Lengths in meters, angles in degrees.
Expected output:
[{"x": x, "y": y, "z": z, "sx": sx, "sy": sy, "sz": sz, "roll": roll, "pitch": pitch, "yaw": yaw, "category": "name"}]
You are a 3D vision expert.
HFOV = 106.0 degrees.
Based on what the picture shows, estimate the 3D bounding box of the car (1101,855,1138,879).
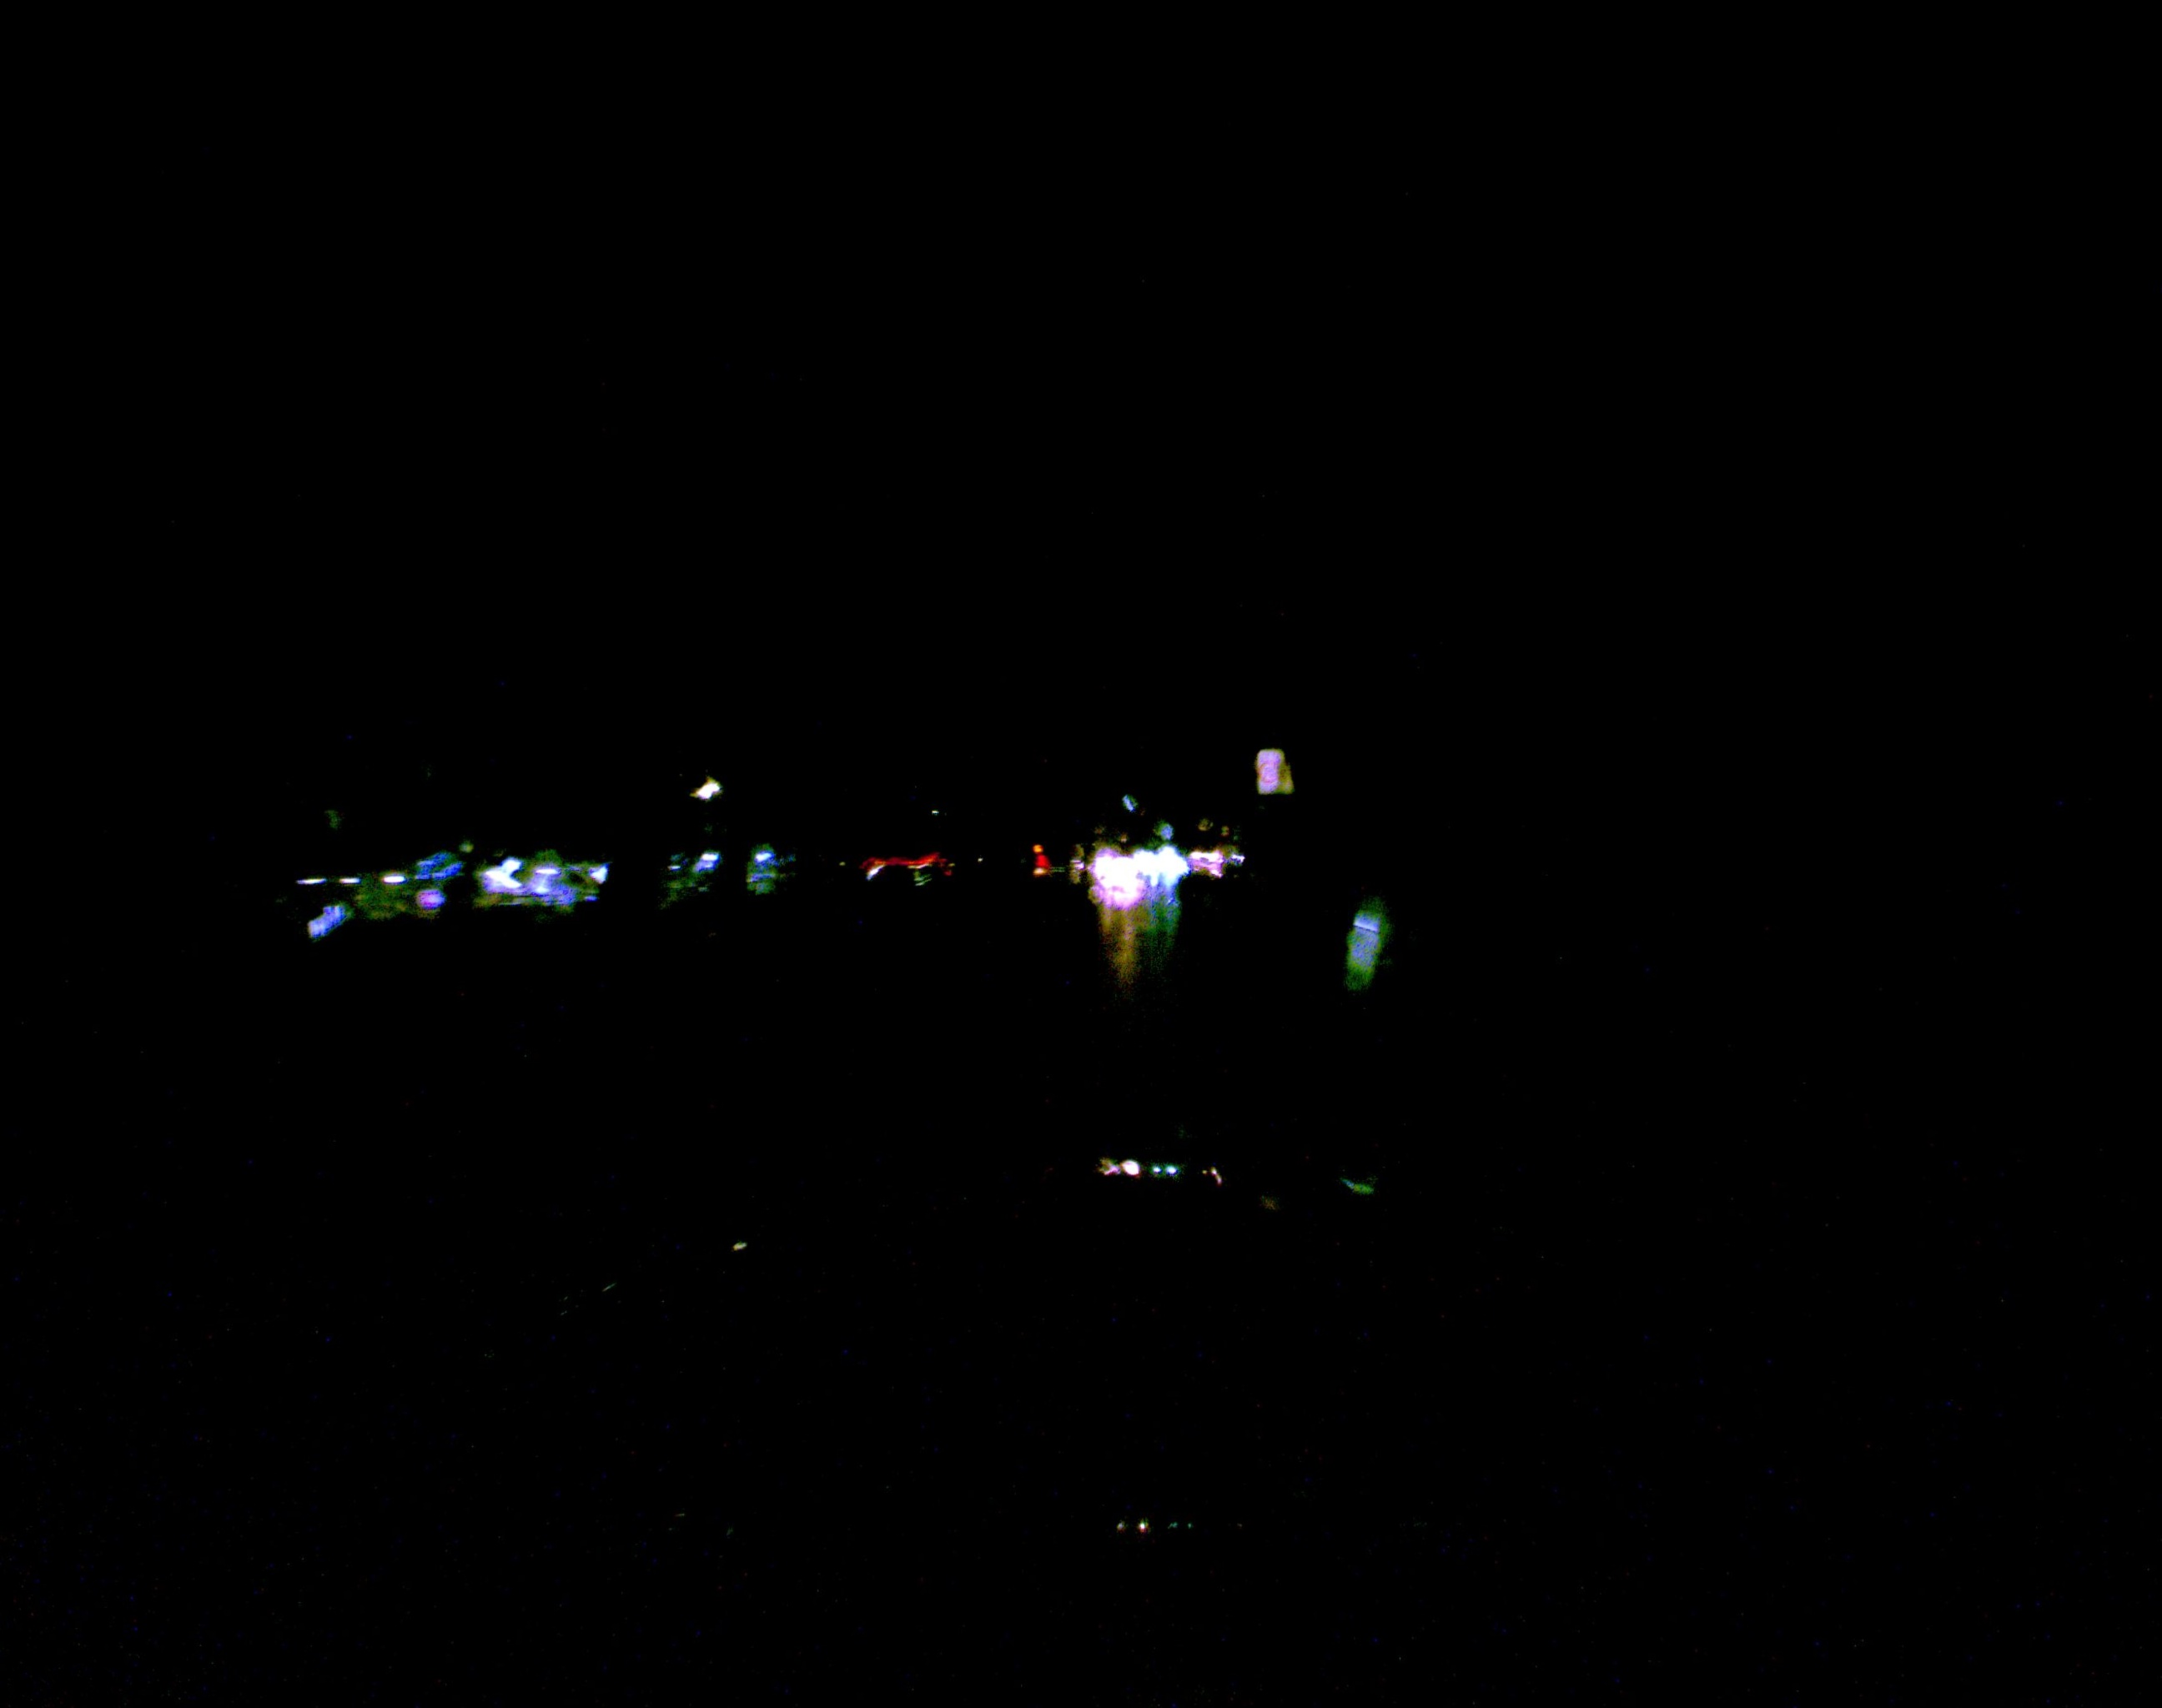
[{"x": 2.415, "y": 0.784, "z": 50.687, "sx": 1.623, "sy": 1.354, "sz": 4.156, "roll": -1, "pitch": 0, "yaw": 12, "category": "car"}]

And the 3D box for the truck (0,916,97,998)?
[{"x": -44.177, "y": 4.290, "z": 32.029, "sx": 2.155, "sy": 3.045, "sz": 6.713, "roll": -4, "pitch": -1, "yaw": 9, "category": "truck"}]

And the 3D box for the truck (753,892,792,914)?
[{"x": -35.162, "y": 5.537, "z": 93.009, "sx": 2.072, "sy": 2.119, "sz": 4.504, "roll": -7, "pitch": -2, "yaw": 7, "category": "truck"}]

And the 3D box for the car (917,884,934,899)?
[{"x": -18.440, "y": 4.480, "z": 96.550, "sx": 1.812, "sy": 1.567, "sz": 4.191, "roll": -5, "pitch": -1, "yaw": -11, "category": "car"}]

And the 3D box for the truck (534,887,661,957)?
[{"x": -28.640, "y": 3.904, "z": 48.692, "sx": 2.453, "sy": 3.480, "sz": 7.065, "roll": -6, "pitch": -2, "yaw": 7, "category": "truck"}]

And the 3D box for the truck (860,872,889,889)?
[{"x": -31.942, "y": 4.050, "z": 126.333, "sx": 2.309, "sy": 2.463, "sz": 6.501, "roll": 0, "pitch": -1, "yaw": 5, "category": "truck"}]

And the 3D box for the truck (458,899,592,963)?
[{"x": -33.110, "y": 4.463, "z": 48.895, "sx": 2.422, "sy": 3.097, "sz": 7.063, "roll": -6, "pitch": -2, "yaw": 6, "category": "truck"}]

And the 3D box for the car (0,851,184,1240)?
[{"x": -5.061, "y": 0.729, "z": 1.835, "sx": 1.645, "sy": 1.491, "sz": 3.863, "roll": 0, "pitch": -1, "yaw": 4, "category": "car"}]

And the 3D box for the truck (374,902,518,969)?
[{"x": -37.899, "y": 4.758, "z": 48.972, "sx": 2.422, "sy": 3.260, "sz": 7.063, "roll": -6, "pitch": -2, "yaw": 6, "category": "truck"}]

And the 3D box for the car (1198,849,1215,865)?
[{"x": 16.226, "y": 0.369, "z": 105.453, "sx": 1.879, "sy": 2.002, "sz": 4.897, "roll": 0, "pitch": 0, "yaw": 12, "category": "car"}]

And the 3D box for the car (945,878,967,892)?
[{"x": -15.898, "y": 3.957, "z": 103.769, "sx": 1.736, "sy": 1.618, "sz": 3.520, "roll": -5, "pitch": -1, "yaw": 7, "category": "car"}]
